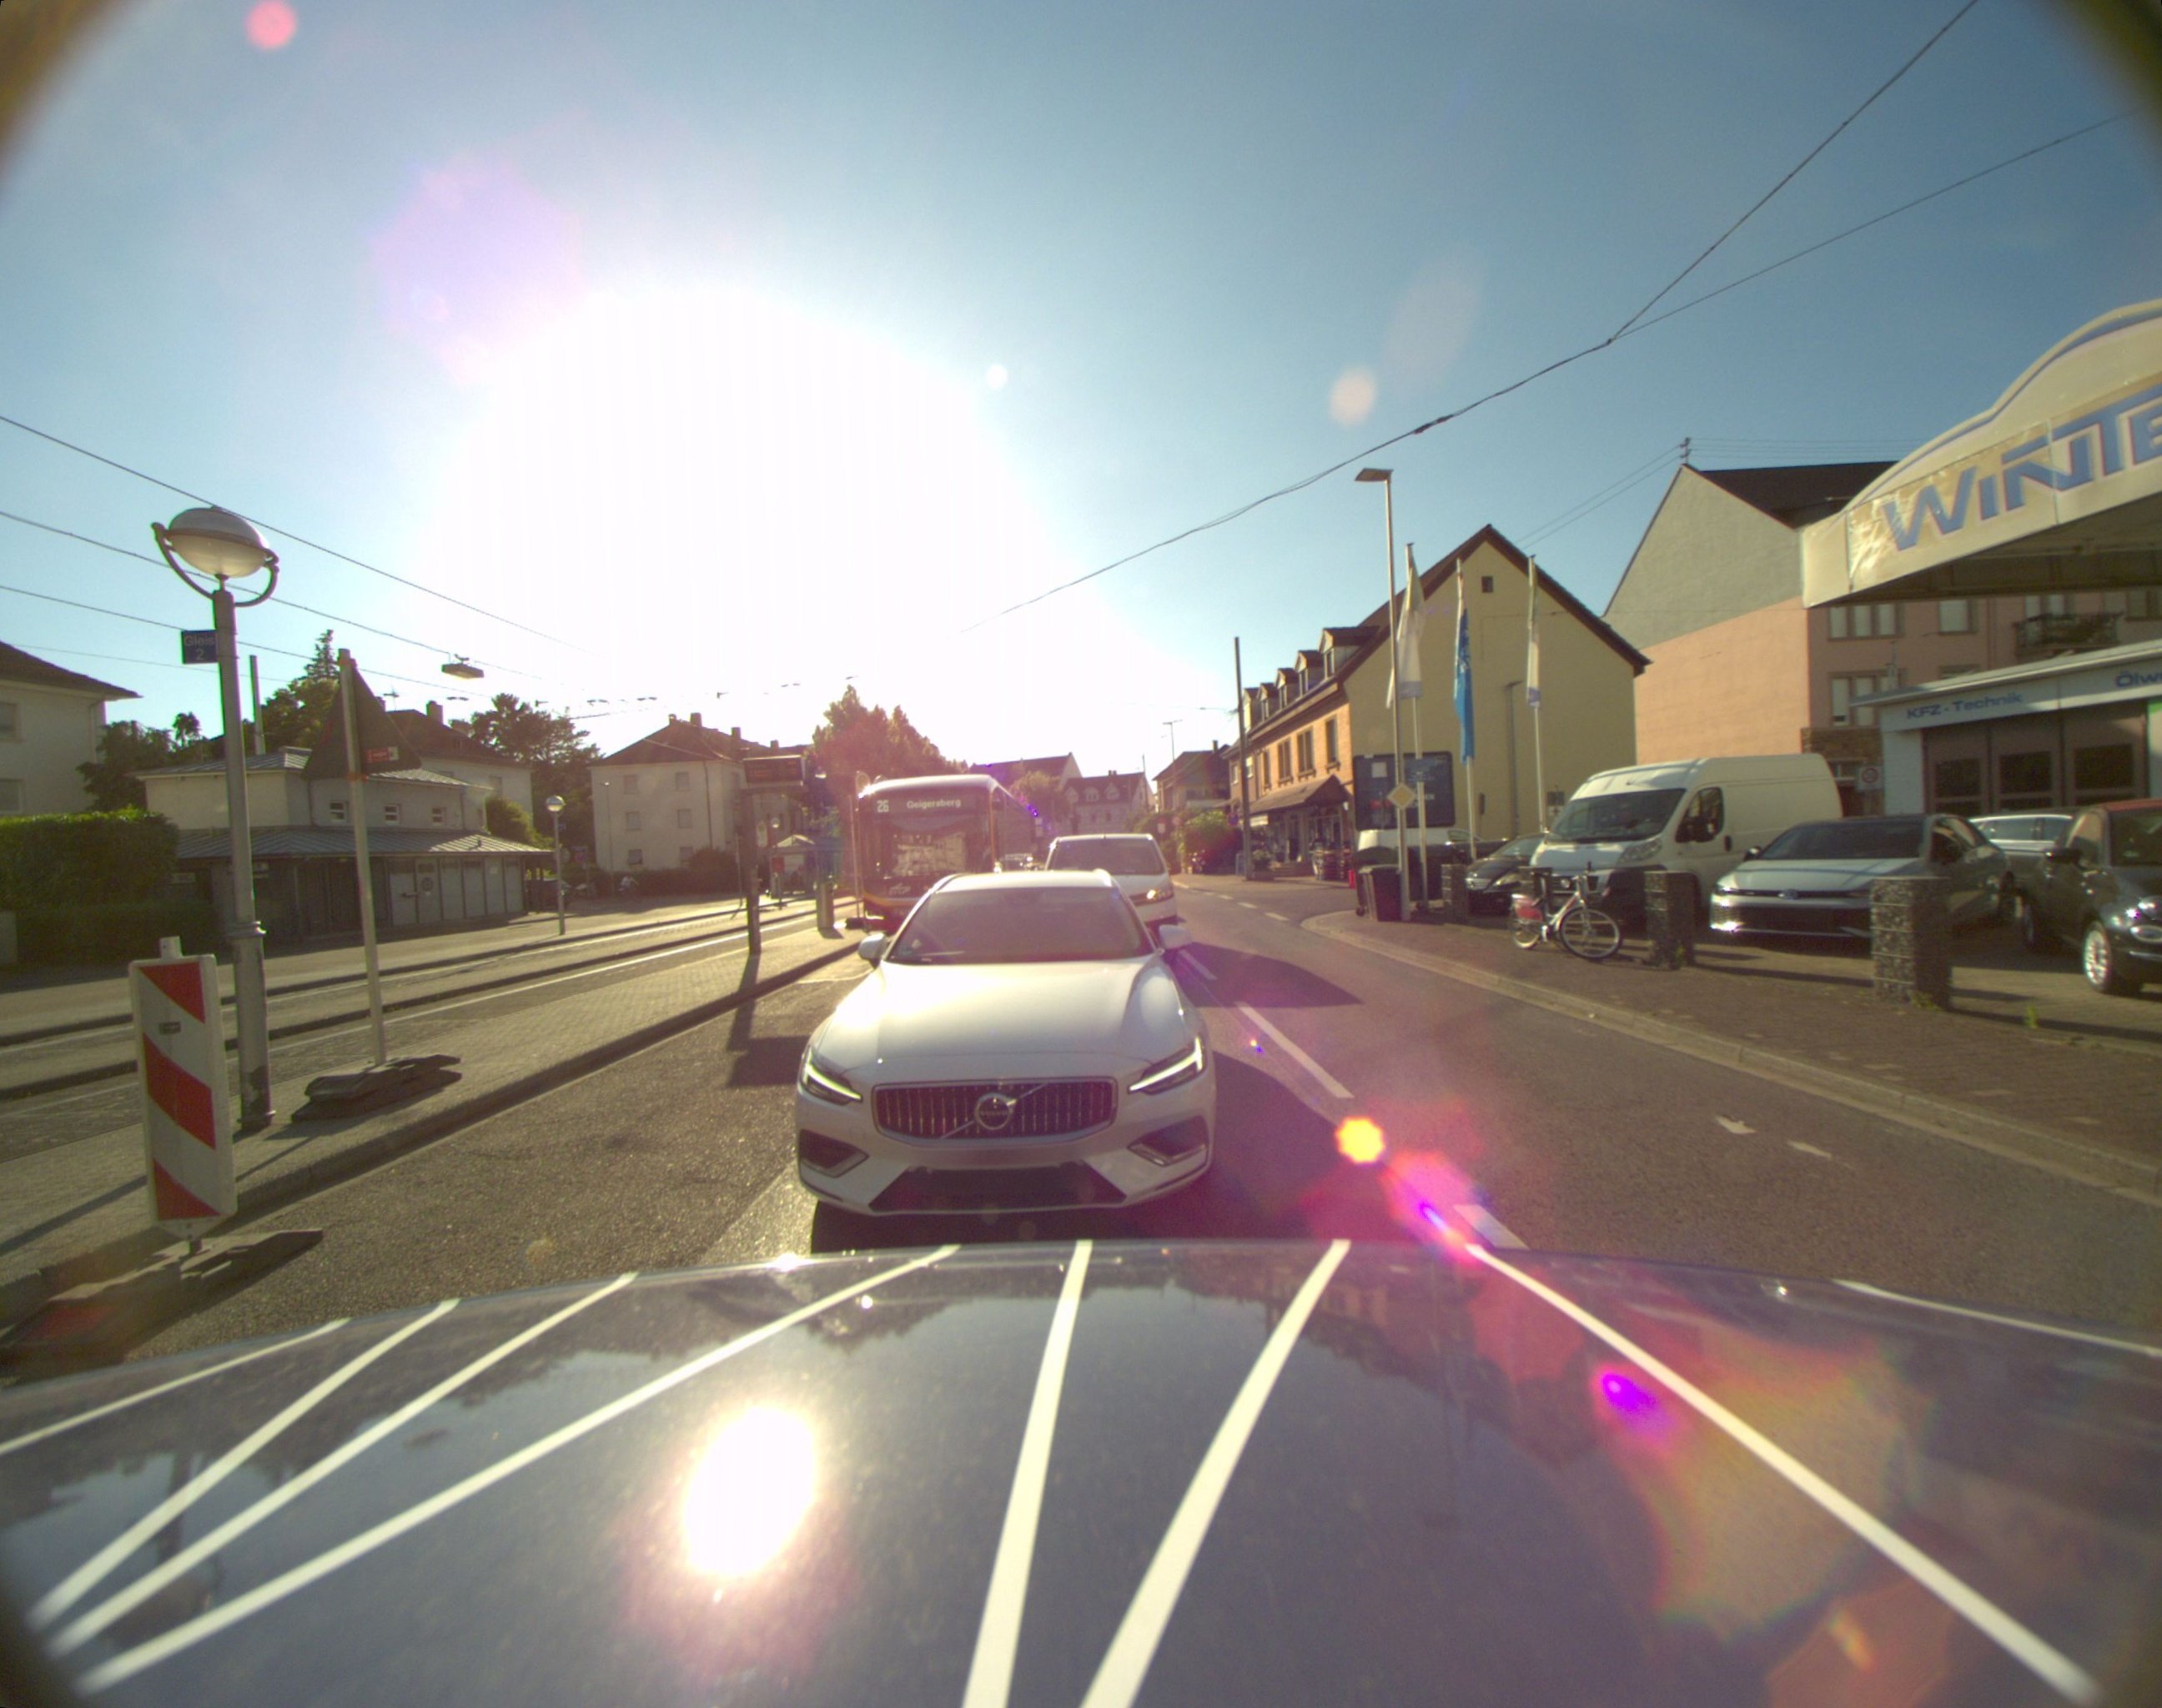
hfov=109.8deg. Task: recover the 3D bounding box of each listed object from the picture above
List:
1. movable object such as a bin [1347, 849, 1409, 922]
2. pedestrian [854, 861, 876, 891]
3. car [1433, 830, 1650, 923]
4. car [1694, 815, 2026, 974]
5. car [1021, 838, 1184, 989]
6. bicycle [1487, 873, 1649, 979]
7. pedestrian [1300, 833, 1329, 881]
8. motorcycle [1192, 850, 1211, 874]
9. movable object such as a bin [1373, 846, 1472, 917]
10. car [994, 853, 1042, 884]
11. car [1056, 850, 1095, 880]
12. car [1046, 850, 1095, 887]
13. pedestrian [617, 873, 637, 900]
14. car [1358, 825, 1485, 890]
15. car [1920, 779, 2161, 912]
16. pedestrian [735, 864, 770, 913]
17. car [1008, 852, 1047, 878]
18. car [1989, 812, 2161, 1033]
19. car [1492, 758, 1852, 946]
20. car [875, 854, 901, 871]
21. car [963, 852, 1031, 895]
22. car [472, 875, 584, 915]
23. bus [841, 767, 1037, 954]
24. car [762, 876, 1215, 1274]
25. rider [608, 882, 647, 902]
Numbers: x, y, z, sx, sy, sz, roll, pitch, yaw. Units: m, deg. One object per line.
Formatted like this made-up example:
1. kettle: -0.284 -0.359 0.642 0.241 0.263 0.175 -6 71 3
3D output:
1. movable object such as a bin: 6.235 0.644 15.950 1.045 1.456 0.797 -2 1 32
2. pedestrian: -11.703 1.176 41.185 0.827 1.601 0.840 -3 2 -42
3. car: 8.966 0.377 14.746 4.036 1.469 1.739 -3 1 -28
4. car: 9.489 0.362 9.210 4.036 1.488 1.739 -3 1 -28
5. car: 0.302 0.735 12.009 1.969 1.816 5.033 -2 0 1
6. bicycle: 5.881 0.817 9.313 0.725 1.080 1.791 -3 1 -3
7. pedestrian: 9.233 0.105 30.054 0.824 1.842 0.765 -3 2 -43
8. motorcycle: 6.352 0.421 40.119 0.708 1.210 2.186 -2 1 3
9. movable object such as a bin: 7.592 0.581 16.913 1.798 1.456 1.046 -3 1 -25
10. car: -3.230 0.707 39.888 1.969 1.450 4.824 -2 0 1
11. car: -0.253 0.569 41.507 1.969 1.450 4.824 -2 0 1
12. car: -0.392 0.585 33.260 1.969 1.450 4.824 -2 0 1
13. pedestrian: -24.463 1.751 40.975 0.657 1.373 0.581 -2 1 12
14. car: 11.564 0.101 25.921 3.672 2.002 1.451 -2 1 -3
15. car: 16.480 -0.169 11.987 1.742 1.933 4.257 -3 1 -1
16. pedestrian: -11.975 1.250 27.727 0.842 1.708 0.825 -2 1 0
17. car: -3.272 0.633 47.303 1.969 1.450 4.824 -2 0 1
18. car: 9.075 0.415 6.164 1.590 1.488 3.442 -2 1 40
19. car: 9.142 -0.131 11.760 4.997 2.440 2.111 -3 1 -22
20. car: -23.262 1.019 91.771 1.998 1.853 3.999 -2 1 1
21. car: -3.152 0.707 29.499 1.969 1.450 4.824 -2 0 1
22. car: -27.689 2.046 38.138 4.052 1.663 2.000 -4 1 2
23. bus: -2.920 0.096 19.832 2.748 3.284 12.030 -2 0 0
24. car: -0.354 0.983 5.255 1.821 1.446 4.217 -2 0 1
25. rider: -24.459 2.044 40.991 1.854 0.986 0.581 -2 1 12
